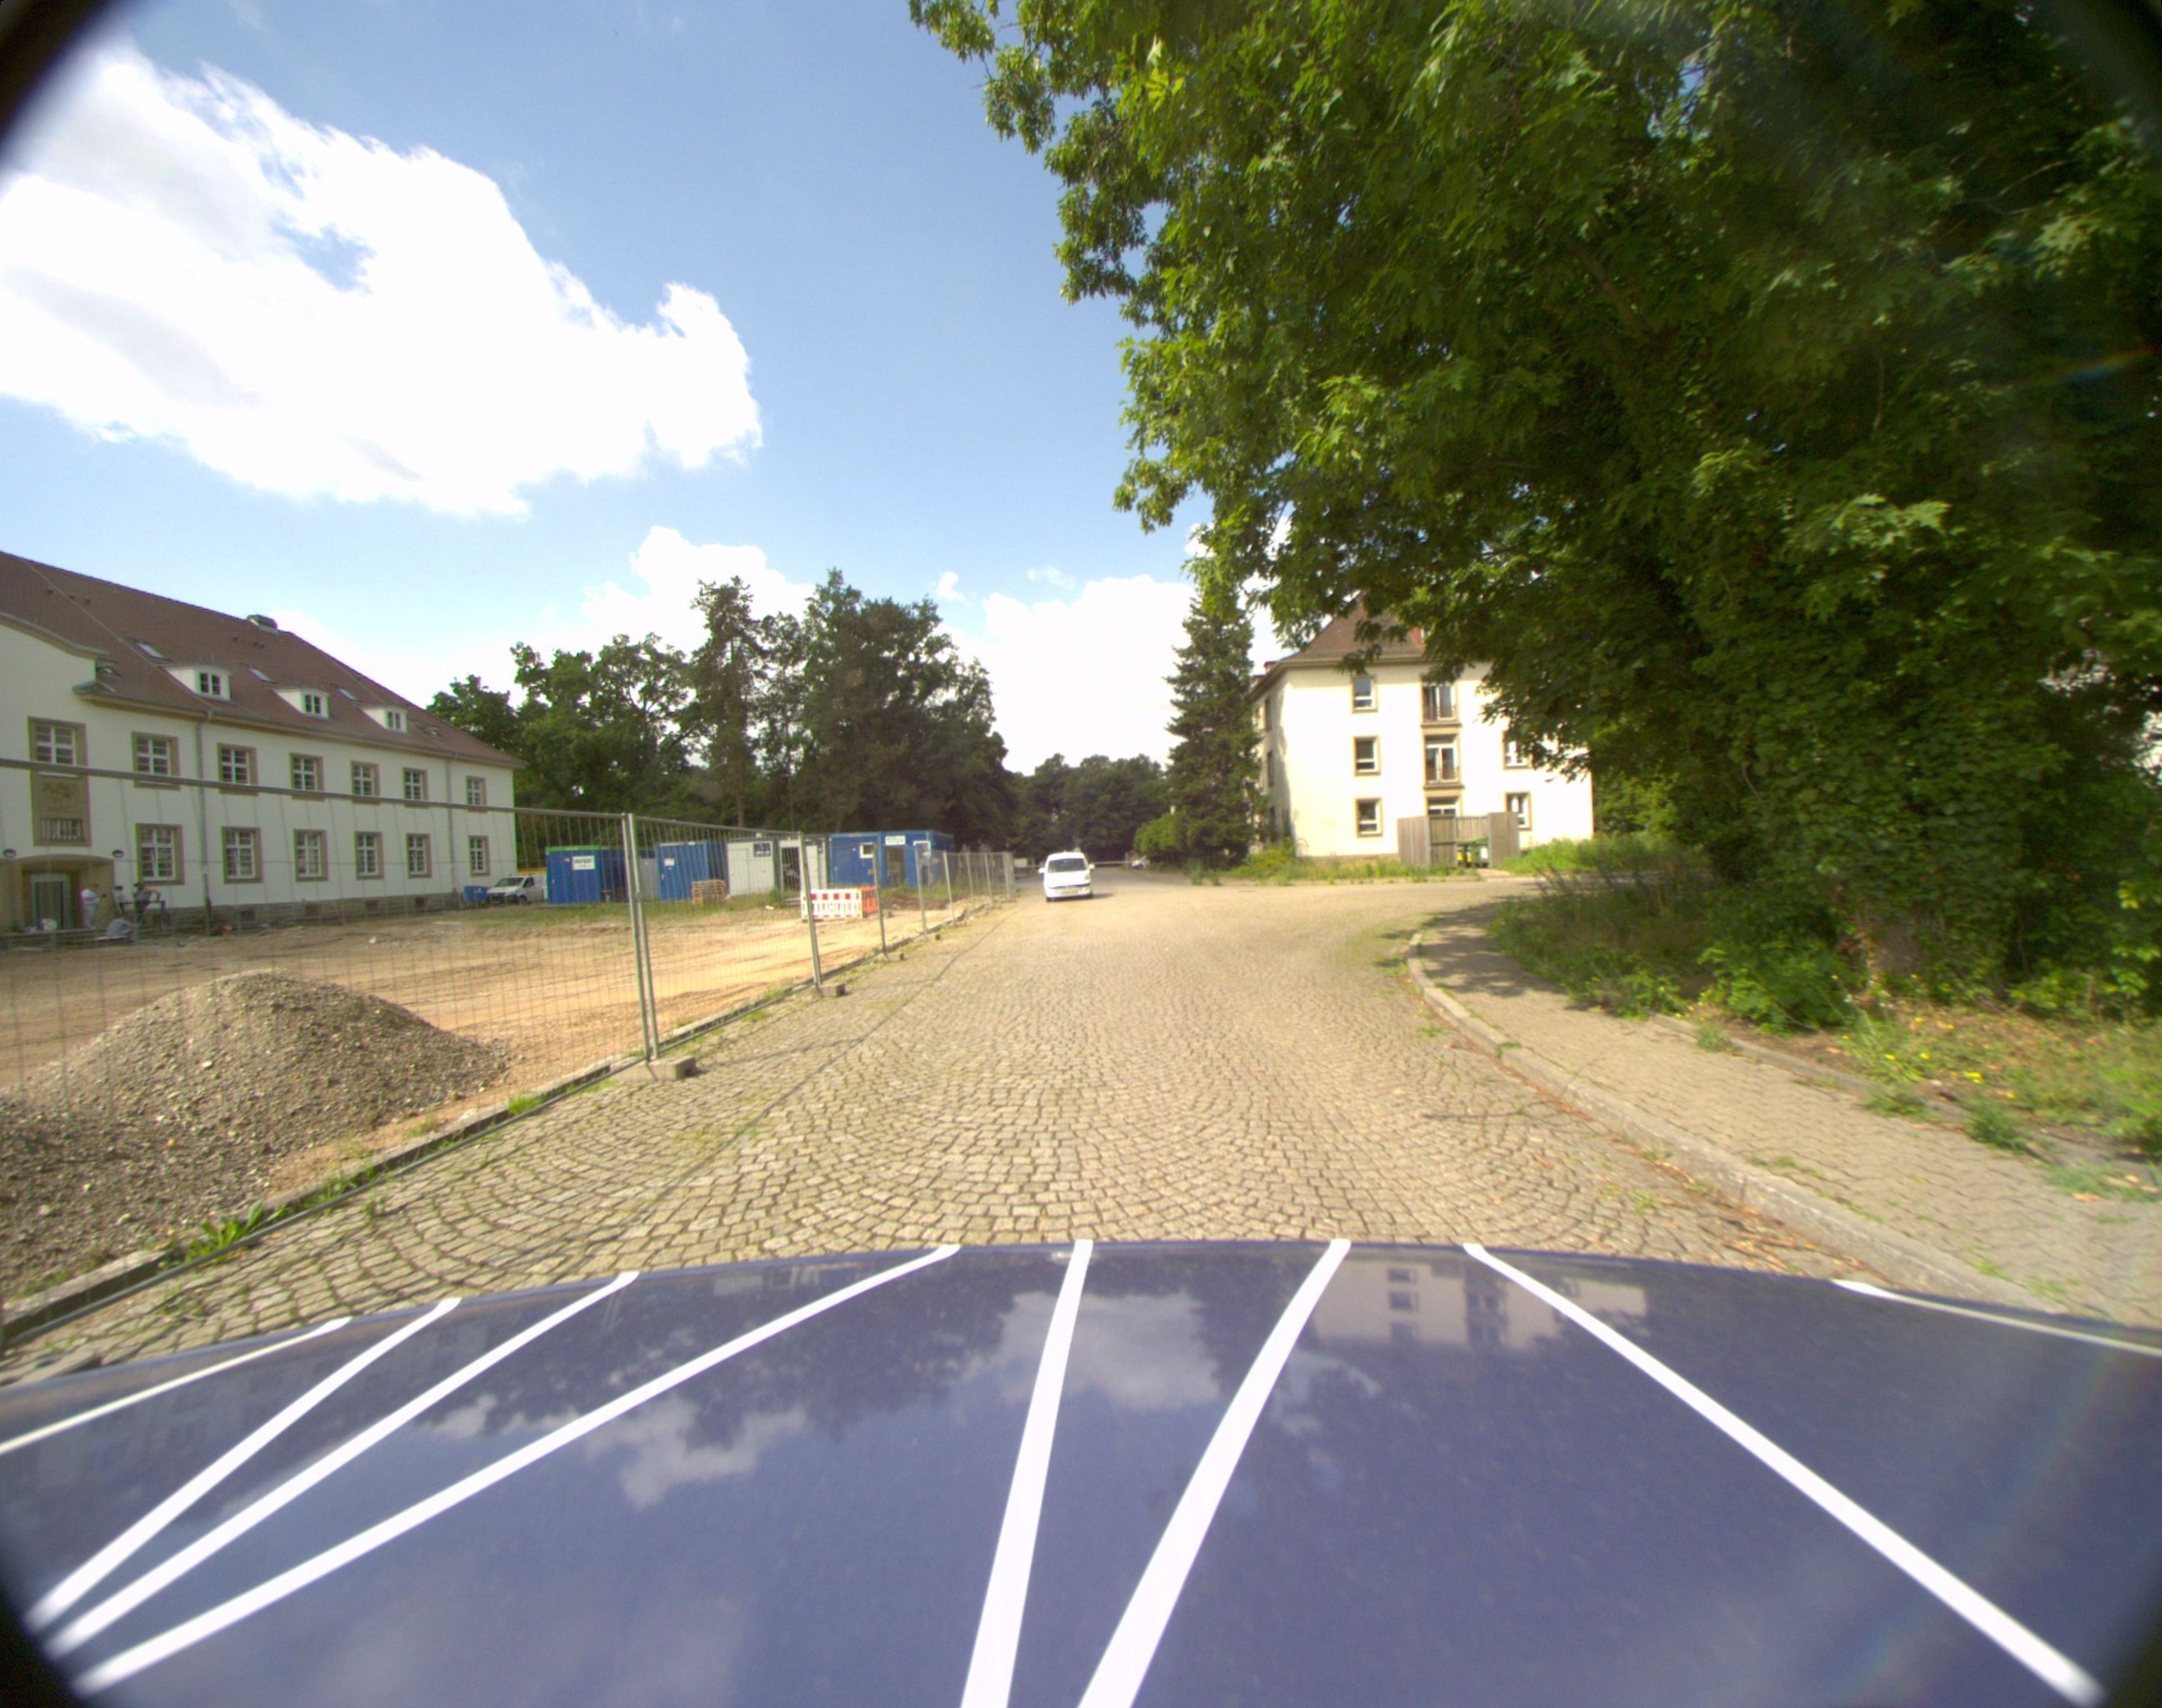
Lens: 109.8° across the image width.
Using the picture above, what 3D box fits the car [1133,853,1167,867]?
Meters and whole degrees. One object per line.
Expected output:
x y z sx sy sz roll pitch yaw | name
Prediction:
8.638 0.727 95.148 4.084 1.634 1.767 -2 1 0 | car

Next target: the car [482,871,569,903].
-34.799 2.024 47.776 1.884 1.718 4.708 -2 0 2 | car

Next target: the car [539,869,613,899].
-31.791 1.864 47.964 1.802 1.674 4.040 -2 0 2 | car

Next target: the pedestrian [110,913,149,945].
-35.126 2.769 28.053 0.491 1.108 0.709 -3 0 -1 | pedestrian

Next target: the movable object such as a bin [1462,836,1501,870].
18.629 -0.030 35.365 1.172 1.522 1.153 -2 1 -2 | movable object such as a bin

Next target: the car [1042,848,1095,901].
-0.534 0.783 30.047 1.839 1.857 4.830 -3 -1 -2 | car

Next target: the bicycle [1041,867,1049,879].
-3.322 1.760 70.292 0.634 0.990 1.557 -3 0 -1 | bicycle

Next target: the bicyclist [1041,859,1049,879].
-3.348 1.375 70.242 0.634 1.760 0.571 -3 1 -1 | bicyclist

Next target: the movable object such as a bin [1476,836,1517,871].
18.670 -0.026 34.165 1.172 1.522 1.153 -2 1 -2 | movable object such as a bin

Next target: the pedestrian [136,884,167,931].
-36.449 2.096 29.796 0.491 1.777 0.506 -3 0 -2 | pedestrian

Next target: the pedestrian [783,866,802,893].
-13.762 1.196 36.247 0.602 1.235 0.682 -3 0 -1 | pedestrian

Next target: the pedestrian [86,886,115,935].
-36.572 2.107 28.340 0.490 1.777 0.507 -3 1 23 | pedestrian
